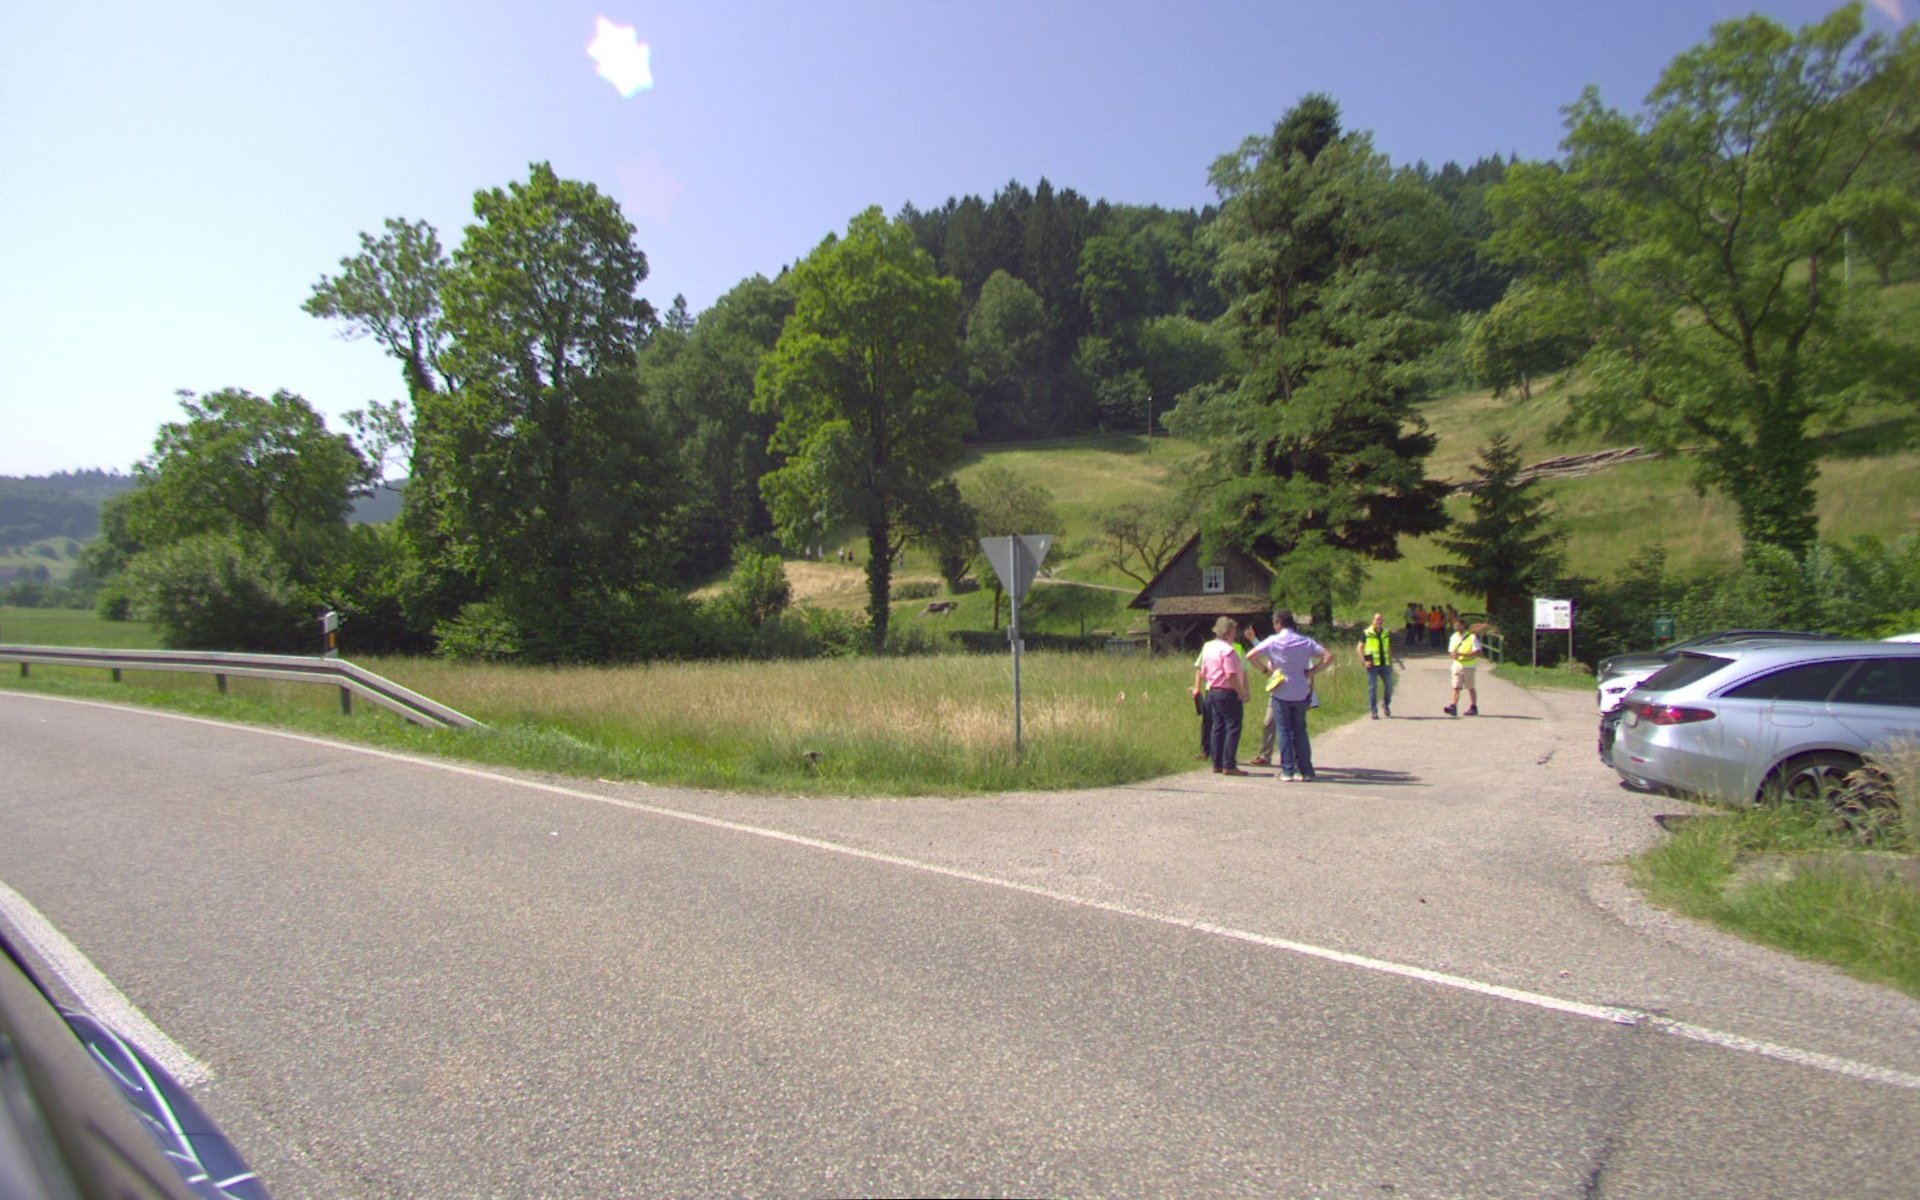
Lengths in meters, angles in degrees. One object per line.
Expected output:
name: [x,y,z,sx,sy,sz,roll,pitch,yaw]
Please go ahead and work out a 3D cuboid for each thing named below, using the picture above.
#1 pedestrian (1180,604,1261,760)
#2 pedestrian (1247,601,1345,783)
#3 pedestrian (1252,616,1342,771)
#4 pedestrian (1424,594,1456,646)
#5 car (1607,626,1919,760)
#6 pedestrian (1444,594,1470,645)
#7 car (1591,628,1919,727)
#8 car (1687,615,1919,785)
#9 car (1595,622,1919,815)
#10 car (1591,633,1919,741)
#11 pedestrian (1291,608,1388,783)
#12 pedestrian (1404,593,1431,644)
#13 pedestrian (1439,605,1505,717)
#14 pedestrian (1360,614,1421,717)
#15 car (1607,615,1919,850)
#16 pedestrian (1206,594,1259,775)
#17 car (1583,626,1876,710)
pedestrian: [3.243,0.987,12.595,0.698,1.856,0.779,0,-2,41]
pedestrian: [3.620,0.962,10.926,0.638,1.873,0.773,2,-3,-26]
pedestrian: [4.120,1.109,12.362,0.794,1.810,0.760,-1,-3,44]
pedestrian: [19.141,0.800,40.400,0.689,2.029,0.935,2,-2,-17]
car: [11.948,1.234,14.052,4.883,1.654,1.979,0,-2,31]
pedestrian: [20.287,0.800,41.344,0.927,2.029,0.695,0,-2,26]
car: [14.335,1.327,18.605,4.501,1.512,1.981,0,0,29]
car: [11.094,1.087,11.289,4.759,1.796,1.855,0,-1,34]
car: [8.968,1.099,9.768,4.617,1.664,1.973,0,-2,40]
car: [13.048,1.342,16.538,4.501,1.512,1.981,0,-2,29]
pedestrian: [4.216,1.035,11.262,0.638,1.854,0.773,2,-3,-26]
pedestrian: [18.560,0.758,41.049,0.929,2.029,0.693,0,-2,31]
pedestrian: [9.460,1.108,18.682,0.861,1.984,1.114,-1,-3,40]
pedestrian: [7.902,1.178,18.553,0.994,1.808,0.949,0,-3,25]
car: [7.128,0.905,7.045,4.260,1.512,1.813,-2,-5,30]
pedestrian: [3.093,0.932,11.466,0.529,1.970,0.658,0,-3,21]
car: [15.526,1.330,20.808,4.501,1.512,1.981,0,-2,29]
